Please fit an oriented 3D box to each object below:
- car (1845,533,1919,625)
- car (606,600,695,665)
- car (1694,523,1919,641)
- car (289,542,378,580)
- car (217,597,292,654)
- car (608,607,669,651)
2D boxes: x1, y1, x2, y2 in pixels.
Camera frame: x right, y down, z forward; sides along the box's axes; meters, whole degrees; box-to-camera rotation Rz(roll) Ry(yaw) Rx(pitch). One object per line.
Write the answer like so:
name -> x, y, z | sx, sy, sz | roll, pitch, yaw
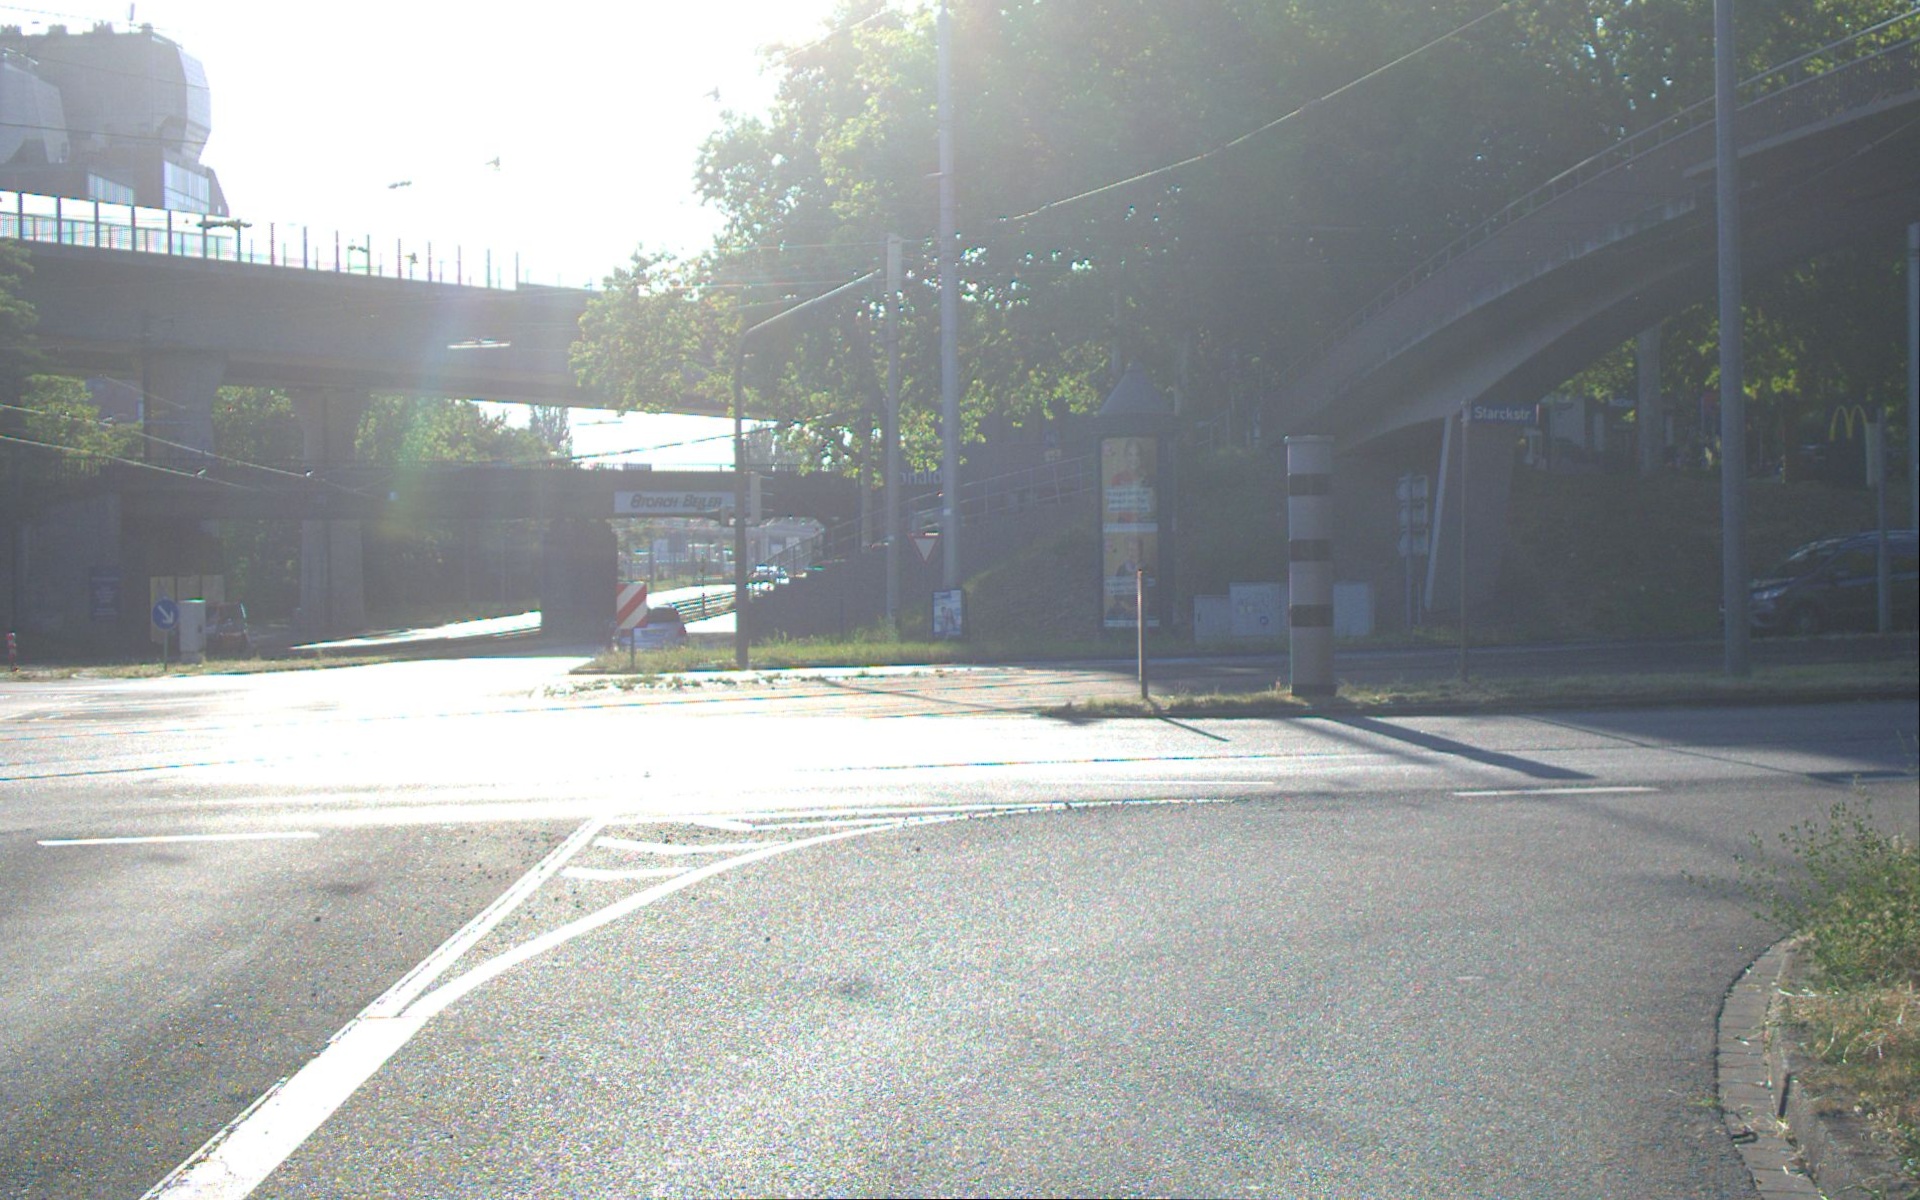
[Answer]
car -> 18.232, -0.390, 61.445 | 4.355, 1.603, 1.857 | 0, 0, -19
car -> -8.323, 0.851, 92.238 | 1.710, 1.647, 4.220 | 0, 0, -14
car -> 14.237, -0.304, 55.844 | 4.131, 1.861, 1.857 | 0, 0, -16
car -> -30.035, -1.851, 164.931 | 1.997, 1.765, 3.993 | 1, 0, 32
car -> -21.188, 0.751, 103.406 | 1.711, 1.647, 4.096 | 0, 0, -4
car -> -10.914, 0.974, 116.862 | 1.691, 1.417, 4.151 | 0, 0, 0
